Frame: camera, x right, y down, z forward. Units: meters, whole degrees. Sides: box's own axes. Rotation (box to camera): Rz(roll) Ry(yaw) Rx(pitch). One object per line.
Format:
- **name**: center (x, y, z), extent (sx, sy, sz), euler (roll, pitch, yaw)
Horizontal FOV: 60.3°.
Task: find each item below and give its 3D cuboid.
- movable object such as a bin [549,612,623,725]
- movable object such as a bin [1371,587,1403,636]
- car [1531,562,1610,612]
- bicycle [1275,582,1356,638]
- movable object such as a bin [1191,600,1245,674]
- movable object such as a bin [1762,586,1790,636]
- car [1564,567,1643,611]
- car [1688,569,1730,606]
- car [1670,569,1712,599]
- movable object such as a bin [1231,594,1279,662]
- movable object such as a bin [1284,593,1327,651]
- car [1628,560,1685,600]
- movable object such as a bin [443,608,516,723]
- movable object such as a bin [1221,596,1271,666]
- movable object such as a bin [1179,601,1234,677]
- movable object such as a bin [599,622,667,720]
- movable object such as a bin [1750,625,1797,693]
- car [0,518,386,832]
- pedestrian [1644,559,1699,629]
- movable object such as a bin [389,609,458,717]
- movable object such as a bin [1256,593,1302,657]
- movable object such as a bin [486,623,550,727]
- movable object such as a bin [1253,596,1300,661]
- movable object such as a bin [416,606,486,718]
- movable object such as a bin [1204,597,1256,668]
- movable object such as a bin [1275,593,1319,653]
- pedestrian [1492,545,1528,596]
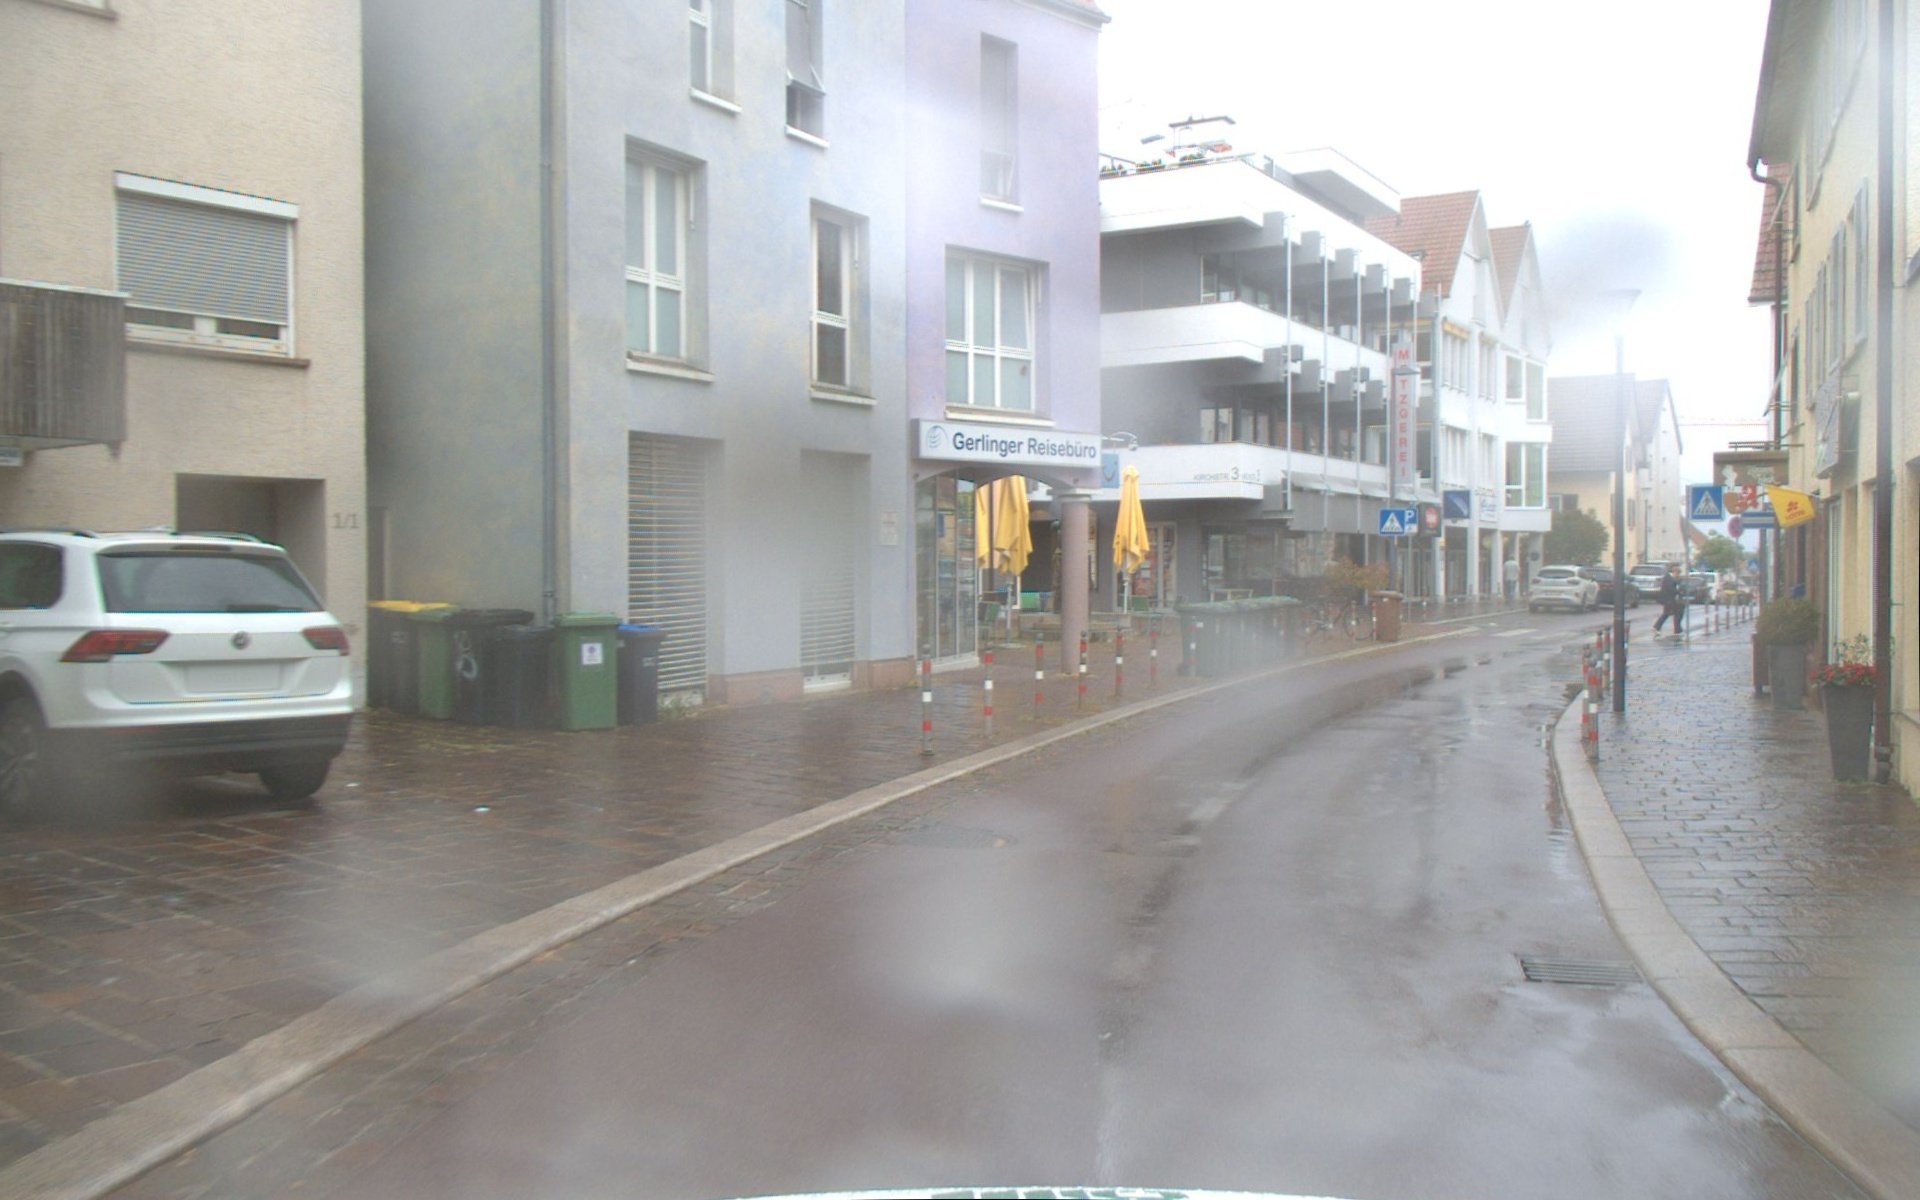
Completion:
- **movable object such as a bin**: center (-3.414, 0.616, 15.094), extent (0.563, 1.006, 0.485), euler (1, -1, -23)
- **movable object such as a bin**: center (9.362, 0.246, 36.288), extent (0.672, 1.038, 0.632), euler (1, 1, 14)
- **car**: center (20.495, -0.408, 55.431), extent (1.759, 1.578, 3.991), euler (2, 0, 31)
- **bicycle**: center (7.844, 0.216, 36.505), extent (1.708, 1.185, 0.444), euler (1, -1, 12)
- **movable object such as a bin**: center (4.002, 0.567, 25.640), extent (0.672, 1.106, 0.712), euler (1, 1, 23)
- **movable object such as a bin**: center (17.734, 0.241, 35.941), extent (0.491, 1.075, 0.547), euler (-2, -2, 31)
- **car**: center (23.609, -0.428, 60.596), extent (1.798, 1.525, 4.751), euler (0, 1, 33)
- **car**: center (39.808, -0.645, 87.865), extent (1.691, 1.857, 4.421), euler (1, 0, 29)
- **car**: center (36.659, -0.782, 82.951), extent (1.649, 1.413, 3.820), euler (1, 0, 28)
- **movable object such as a bin**: center (5.032, 0.475, 28.186), extent (0.672, 1.124, 0.669), euler (1, 1, 23)
- **movable object such as a bin**: center (6.515, 0.410, 31.159), extent (0.672, 1.057, 0.669), euler (1, 1, 23)
- **car**: center (30.062, -0.840, 71.338), extent (1.746, 1.596, 4.400), euler (1, 0, 29)
- **movable object such as a bin**: center (-4.508, 0.606, 15.513), extent (0.467, 1.046, 0.470), euler (0, -1, 43)
- **movable object such as a bin**: center (4.760, 0.510, 27.516), extent (0.672, 1.124, 0.669), euler (1, 1, 23)
- **movable object such as a bin**: center (3.717, 0.582, 24.946), extent (0.672, 1.097, 0.677), euler (1, 1, 23)
- **movable object such as a bin**: center (-3.103, 0.665, 15.691), extent (0.450, 0.911, 0.450), euler (1, -1, 20)
- **movable object such as a bin**: center (10.934, 0.787, 22.240), extent (0.535, 0.851, 0.909), euler (-2, 0, 26)
- **car**: center (-5.543, 0.376, 10.455), extent (3.923, 1.611, 1.824), euler (1, 0, 39)
- **pedestrian**: center (18.009, -0.162, 41.843), extent (1.155, 1.727, 1.176), euler (-1, 0, 29)
- **movable object such as a bin**: center (-5.306, 0.615, 16.346), extent (0.467, 1.046, 0.470), euler (0, -1, 43)
- **movable object such as a bin**: center (5.706, 0.437, 29.548), extent (0.672, 1.095, 0.669), euler (1, 1, 23)
- **movable object such as a bin**: center (-4.075, 0.680, 15.249), extent (0.429, 0.931, 0.384), euler (0, -1, 42)
- **movable object such as a bin**: center (5.508, 0.482, 28.752), extent (0.672, 1.092, 0.669), euler (1, 1, 23)
- **movable object such as a bin**: center (-4.905, 0.590, 15.948), extent (0.470, 1.046, 0.468), euler (1, -1, -45)
- **movable object such as a bin**: center (4.328, 0.513, 26.497), extent (0.672, 1.099, 0.669), euler (1, 1, 23)
- **movable object such as a bin**: center (6.213, 0.413, 30.489), extent (0.672, 1.060, 0.669), euler (1, 1, 23)
- **pedestrian**: center (20.399, -1.096, 61.324), extent (1.016, 1.837, 1.113), euler (1, 1, 32)
